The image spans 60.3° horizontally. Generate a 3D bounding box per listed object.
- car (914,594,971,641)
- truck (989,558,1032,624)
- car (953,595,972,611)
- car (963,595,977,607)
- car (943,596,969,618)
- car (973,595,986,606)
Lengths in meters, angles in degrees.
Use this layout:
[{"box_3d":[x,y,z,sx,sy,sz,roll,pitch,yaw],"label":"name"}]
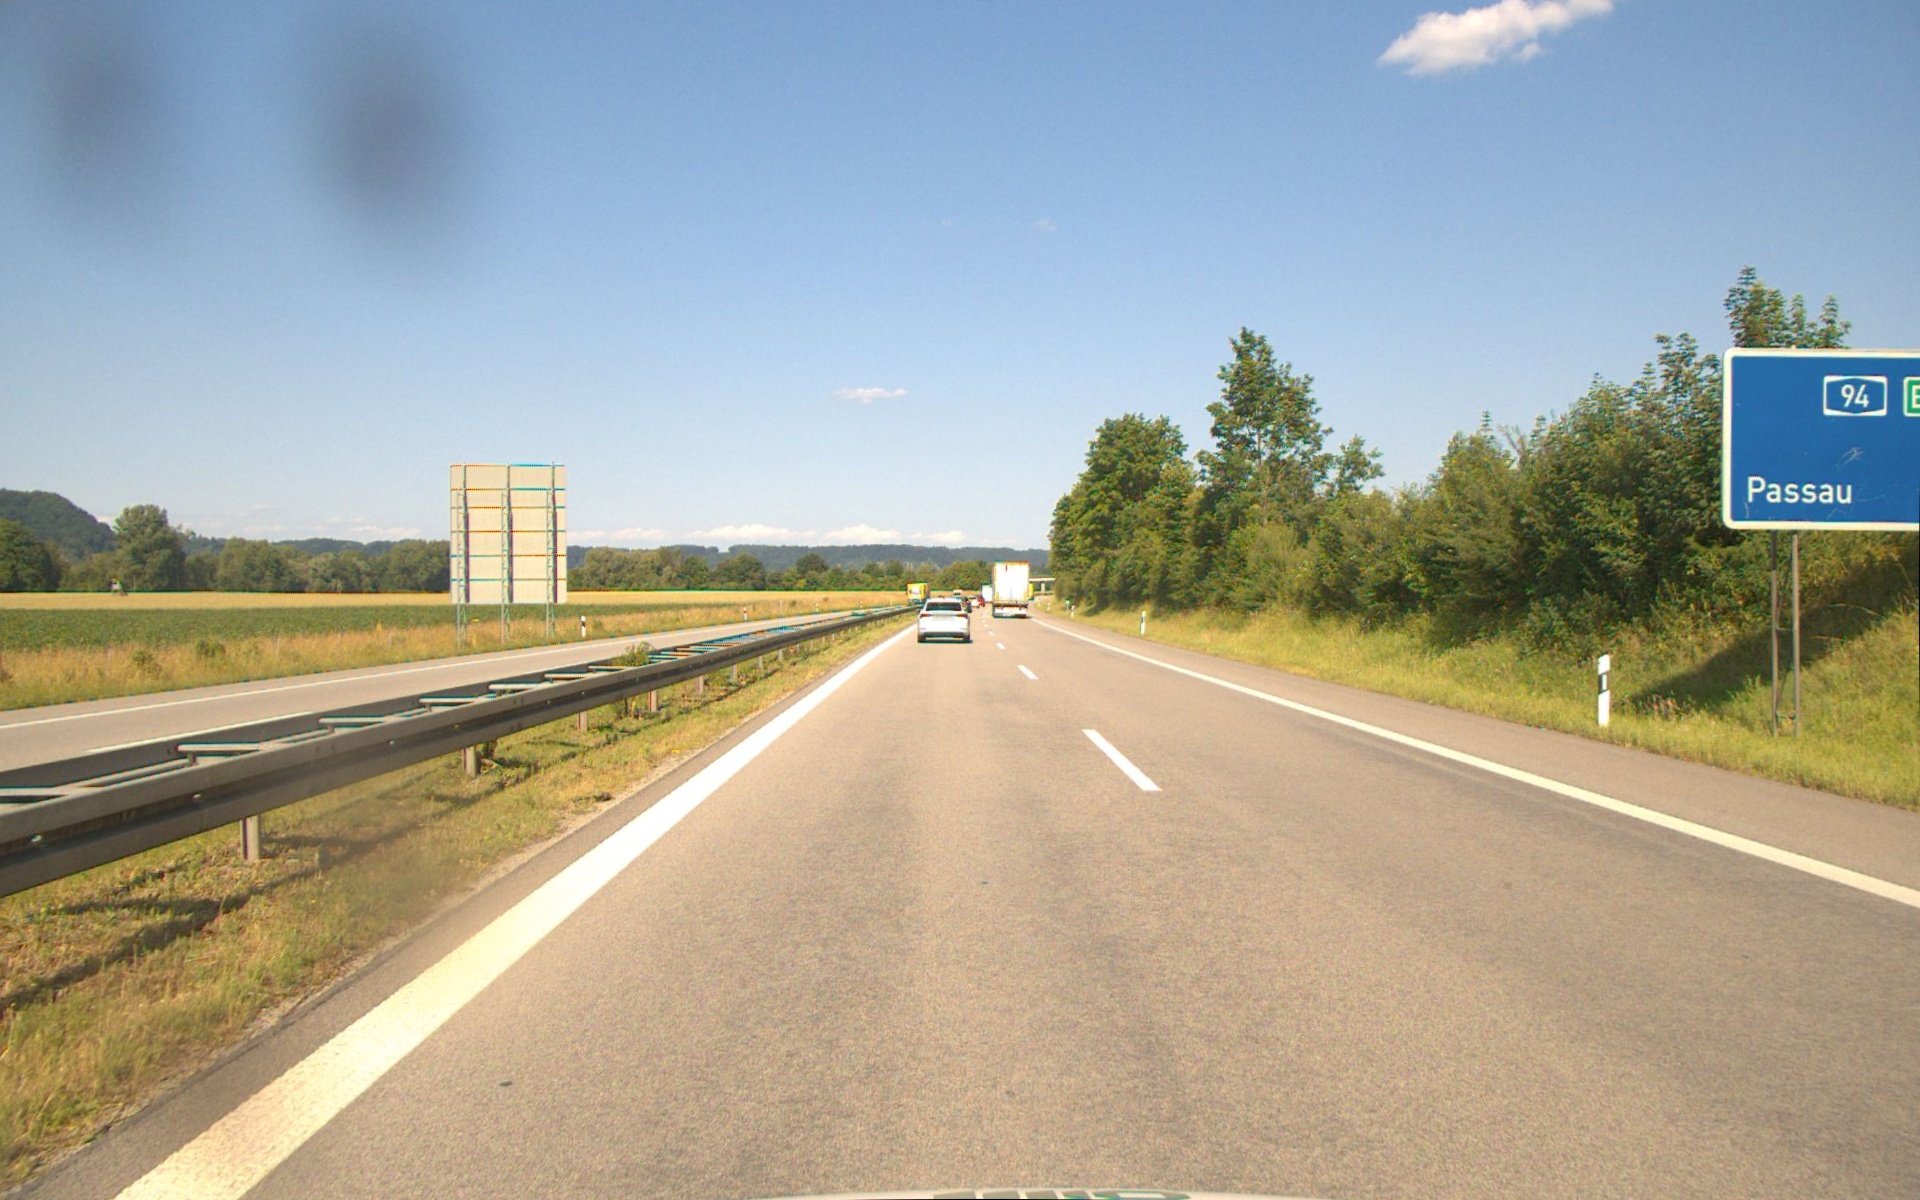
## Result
[{"box_3d":[-0.606,0.560,56.067,1.803,1.446,5.254,1,0,-1],"label":"car"},{"box_3d":[3.733,-0.662,123.670,3.087,4.693,8.907,-1,0,1],"label":"truck"},{"box_3d":[0.221,0.262,159.656,1.735,1.446,4.365,1,0,1],"label":"car"},{"box_3d":[1.213,0.147,201.567,1.735,1.446,4.365,1,0,1],"label":"car"},{"box_3d":[-0.279,0.484,114.524,1.735,1.446,4.495,1,0,-1],"label":"car"},{"box_3d":[2.606,0.070,221.764,1.735,1.446,4.365,1,0,1],"label":"car"}]
